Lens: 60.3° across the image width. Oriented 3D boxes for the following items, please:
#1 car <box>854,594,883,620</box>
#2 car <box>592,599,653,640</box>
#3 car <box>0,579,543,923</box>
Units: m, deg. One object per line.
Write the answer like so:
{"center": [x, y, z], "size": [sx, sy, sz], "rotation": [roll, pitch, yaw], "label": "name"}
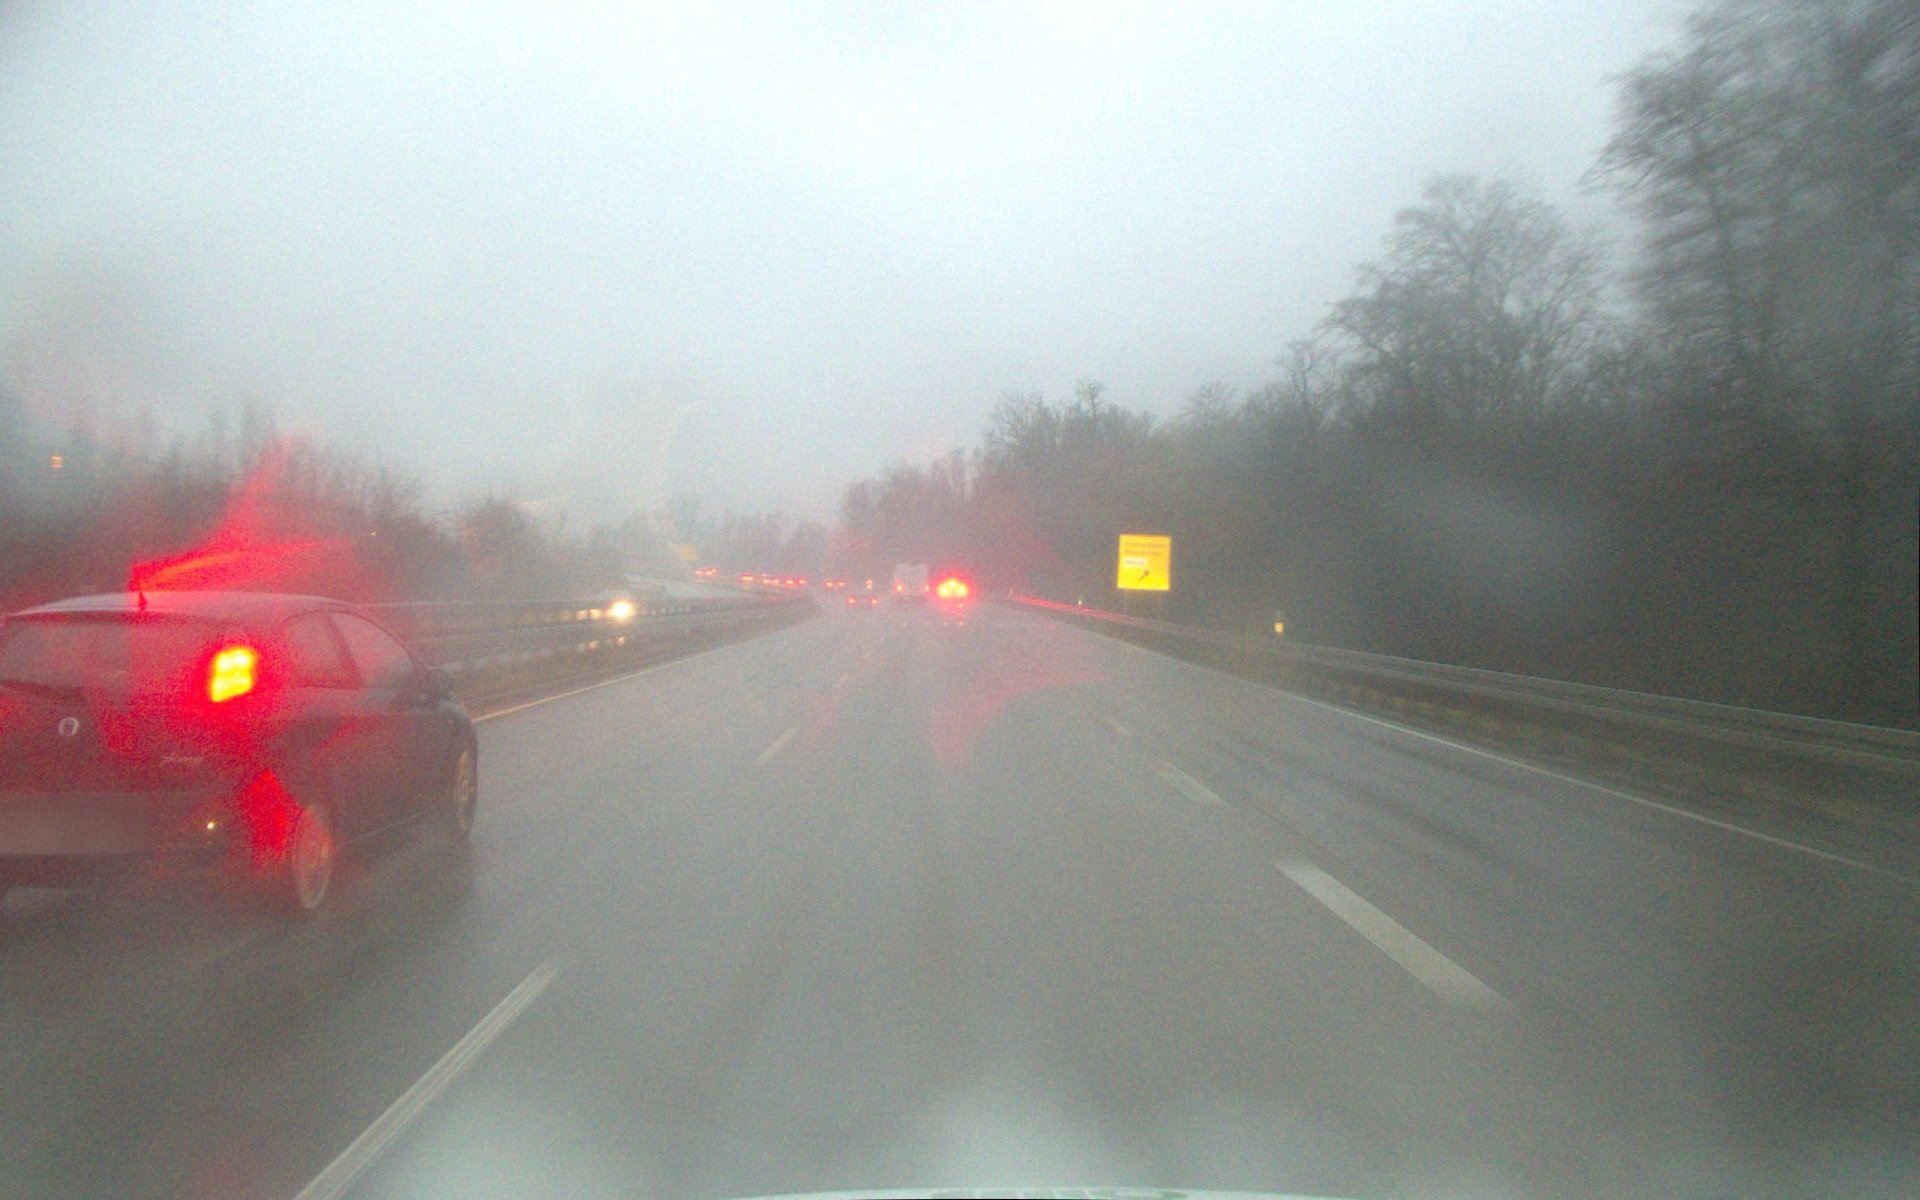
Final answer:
{"center": [-5.020, 0.367, 90.617], "size": [1.387, 1.340, 3.082], "rotation": [2, 0, -1], "label": "car"}
{"center": [-14.071, 0.785, 69.193], "size": [1.727, 1.655, 4.525], "rotation": [1, 0, -2], "label": "car"}
{"center": [-3.571, 0.658, 9.069], "size": [1.593, 1.416, 3.999], "rotation": [2, 0, -2], "label": "car"}
